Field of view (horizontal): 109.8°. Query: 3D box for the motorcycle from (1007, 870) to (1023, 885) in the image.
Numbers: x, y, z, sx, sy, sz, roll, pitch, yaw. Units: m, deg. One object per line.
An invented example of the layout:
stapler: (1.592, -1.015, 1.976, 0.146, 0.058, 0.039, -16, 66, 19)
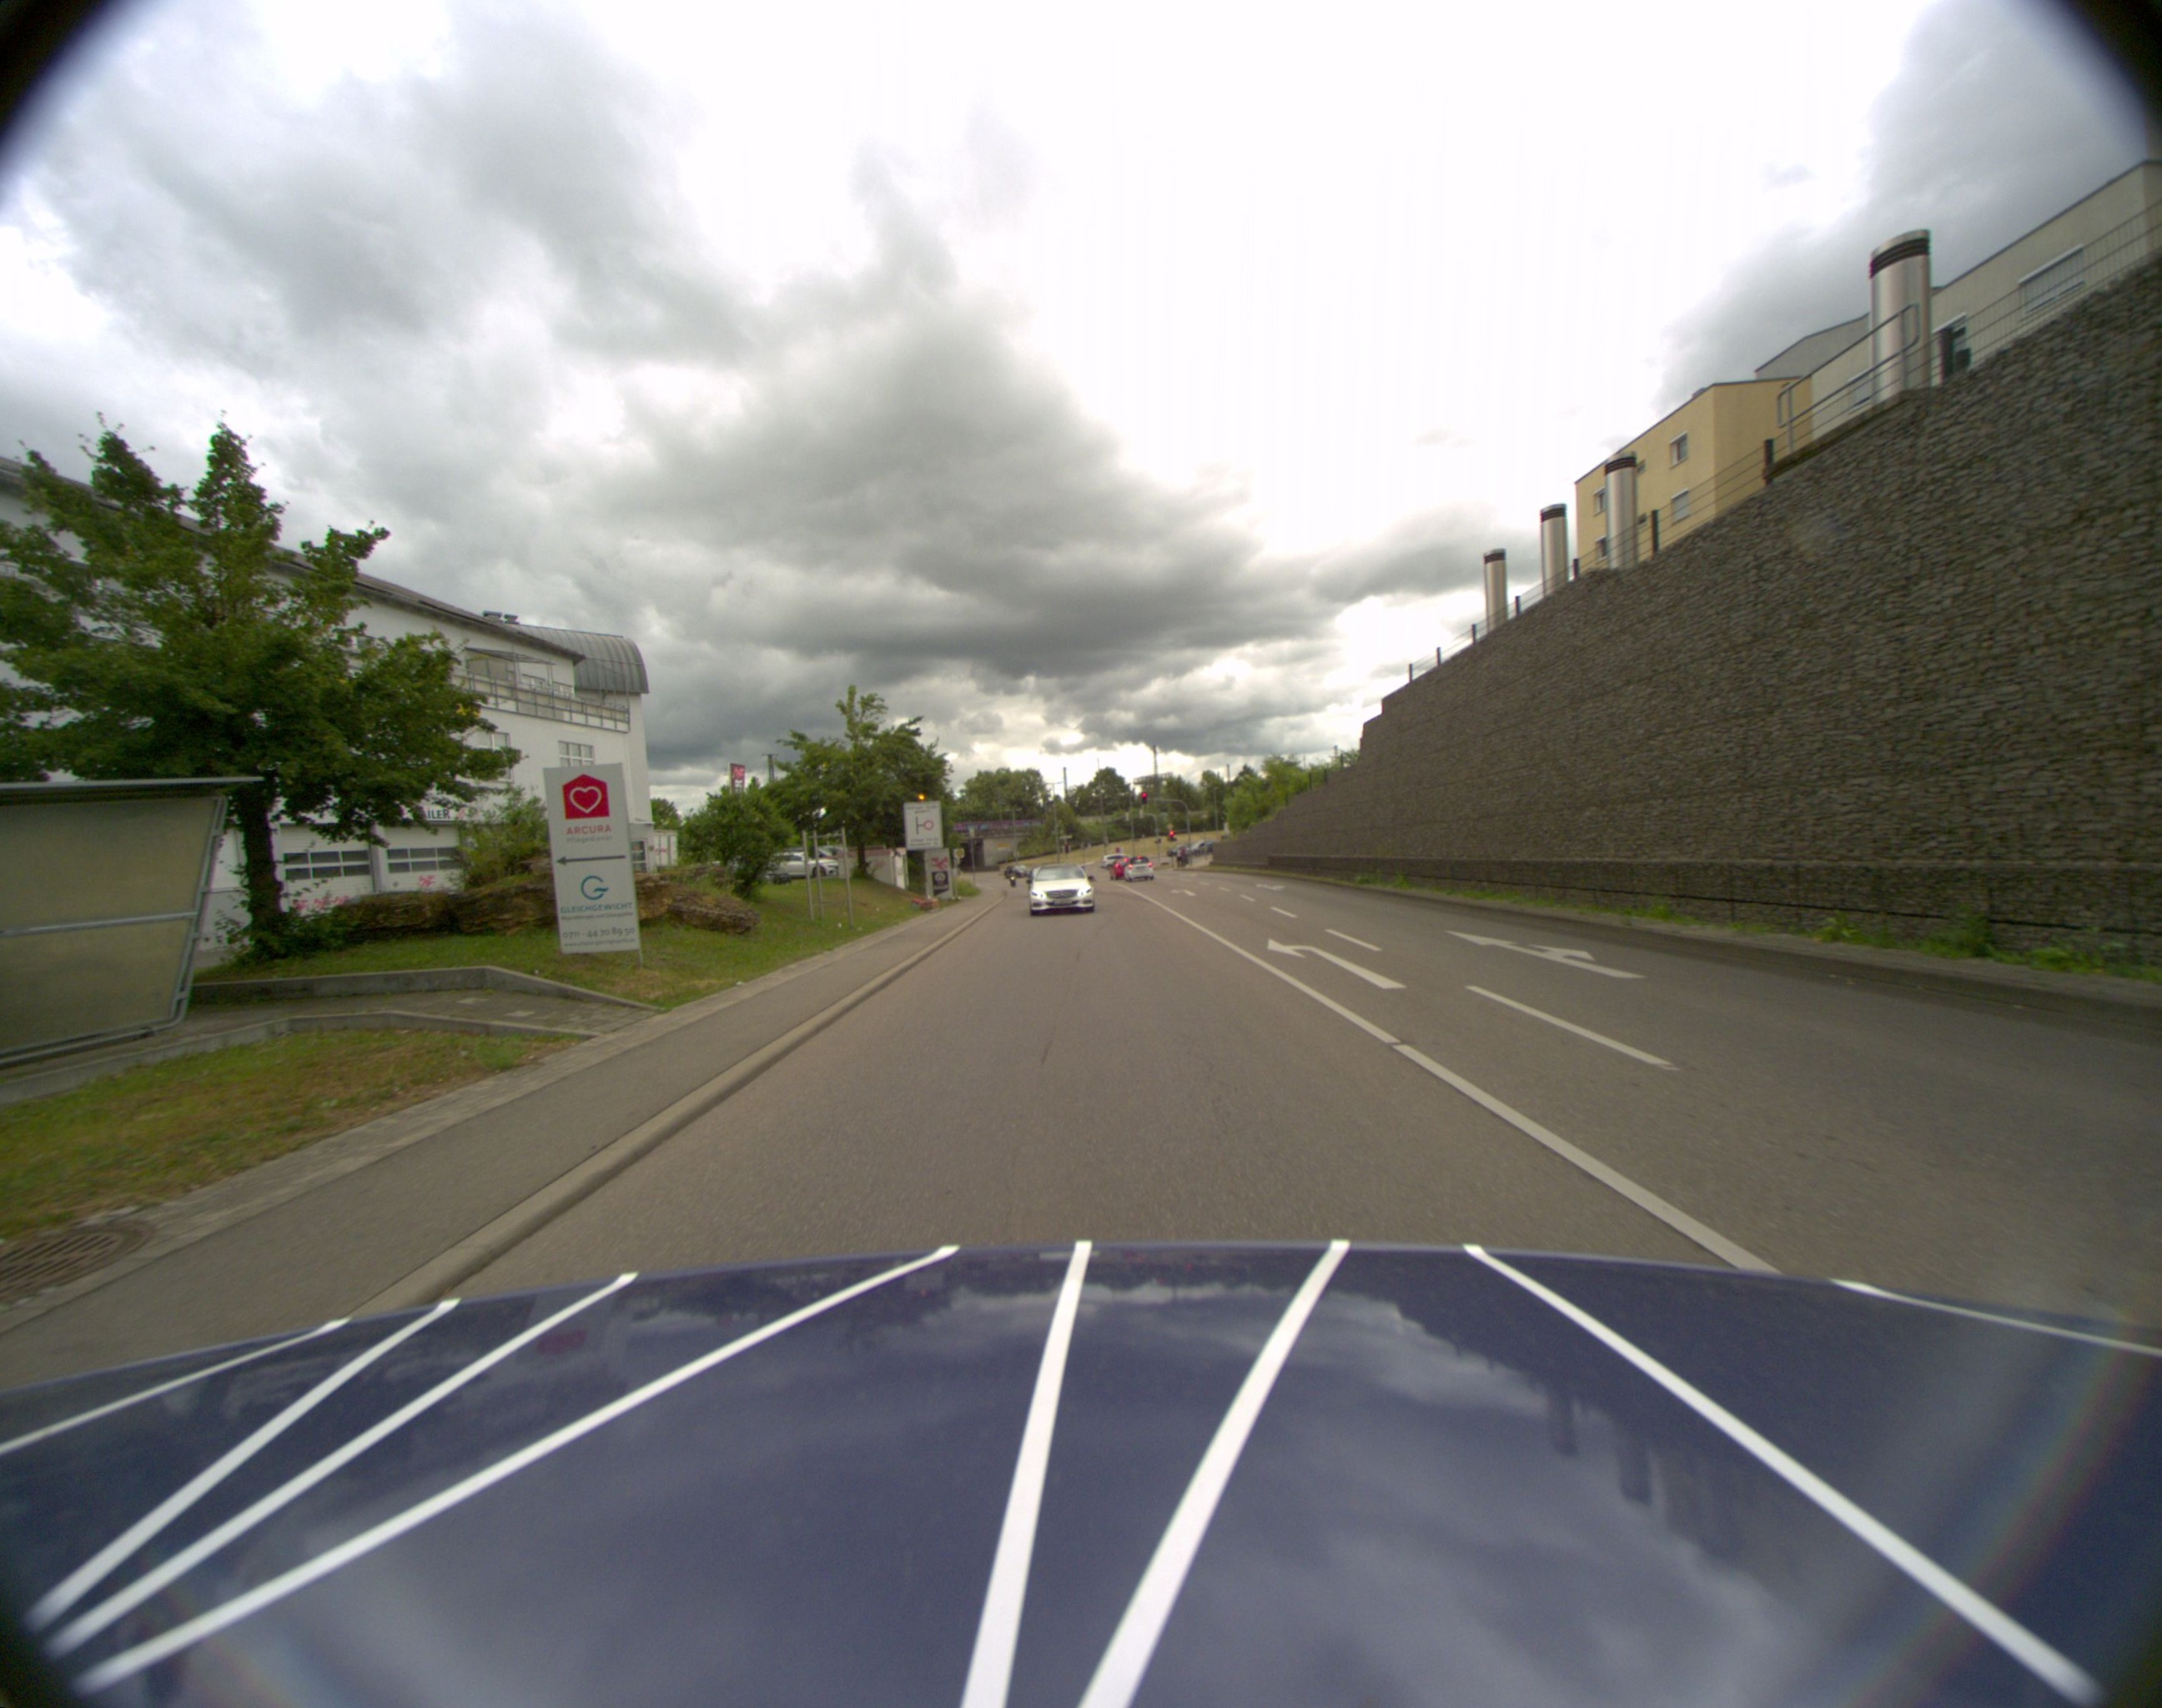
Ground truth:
motorcycle: (-5.413, 1.905, 61.782, 0.883, 1.098, 2.358, -6, 1, -13)

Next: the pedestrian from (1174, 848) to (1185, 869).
pedestrian: (8.282, 0.405, 63.791, 0.664, 1.669, 0.624, -5, 2, 18)

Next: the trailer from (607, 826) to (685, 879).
trailer: (-29.824, -0.051, 51.953, 6.477, 3.038, 2.474, -5, 2, 43)

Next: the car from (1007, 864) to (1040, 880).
car: (-6.729, 2.091, 87.899, 1.762, 1.525, 4.244, -7, 2, -34)

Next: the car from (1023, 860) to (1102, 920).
car: (-0.467, 1.023, 23.381, 1.904, 1.471, 4.095, -6, 0, 4)

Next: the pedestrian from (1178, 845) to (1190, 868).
pedestrian: (8.594, 0.229, 63.187, 0.624, 1.817, 0.665, -6, 2, -11)

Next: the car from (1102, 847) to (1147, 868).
car: (4.633, 0.361, 80.715, 4.507, 1.629, 1.831, -6, 1, 6)

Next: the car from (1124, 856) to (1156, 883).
car: (3.736, 0.962, 48.448, 1.547, 1.514, 2.913, -6, 0, -2)

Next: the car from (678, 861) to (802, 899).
car: (-13.711, 1.025, 30.693, 4.048, 1.225, 1.912, -3, 2, 1)

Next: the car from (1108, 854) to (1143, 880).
car: (3.153, 0.888, 54.753, 1.759, 1.515, 4.089, -6, 2, -5)

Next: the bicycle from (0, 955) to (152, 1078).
bicycle: (-8.989, 1.389, 6.372, 0.492, 0.870, 1.481, -3, 0, 2)

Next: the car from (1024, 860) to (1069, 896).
car: (-1.833, 1.204, 39.162, 1.760, 1.532, 3.996, -6, 1, -8)

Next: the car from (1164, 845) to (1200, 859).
car: (13.306, -0.301, 99.998, 4.269, 1.542, 2.106, -3, 0, -33)

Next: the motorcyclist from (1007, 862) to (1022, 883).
motorcyclist: (-5.411, 1.483, 61.566, 0.883, 1.596, 1.242, -6, 1, -11)

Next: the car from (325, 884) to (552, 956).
car: (-15.511, 1.565, 18.507, 3.882, 1.345, 1.835, -3, 2, 0)

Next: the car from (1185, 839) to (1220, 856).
car: (15.399, -0.870, 96.037, 4.269, 1.719, 1.756, -7, 2, -39)

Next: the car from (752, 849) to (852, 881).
car: (-15.053, 0.593, 41.154, 4.707, 1.373, 1.715, -3, 2, 1)
